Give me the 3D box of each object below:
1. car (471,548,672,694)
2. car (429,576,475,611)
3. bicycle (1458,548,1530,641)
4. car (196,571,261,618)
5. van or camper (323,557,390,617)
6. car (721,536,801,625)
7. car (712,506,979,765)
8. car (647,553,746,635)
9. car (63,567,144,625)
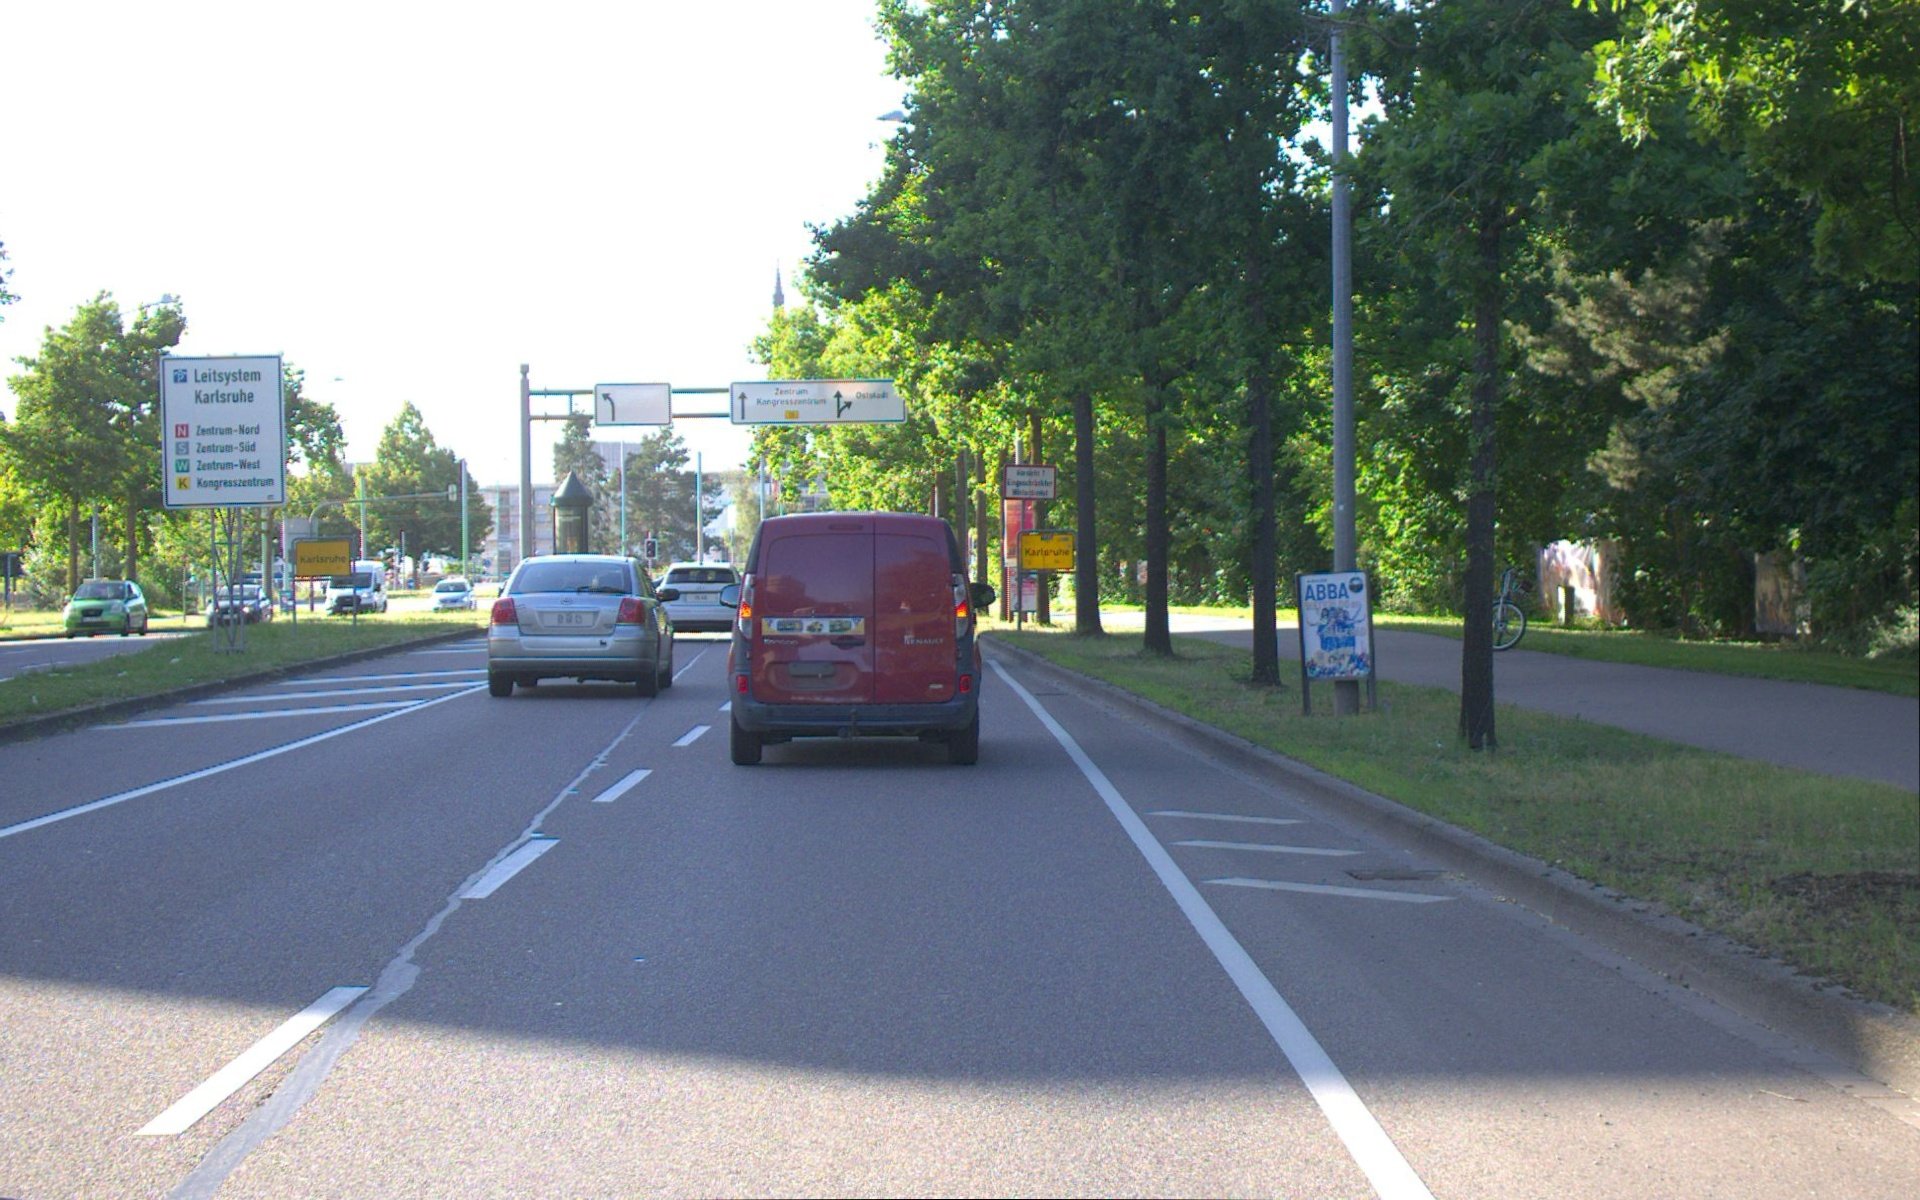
[{"bbox_3d":[-4.072,0.183,36.567,1.841,1.451,4.163,0,1,-2],"label":"car"},{"bbox_3d":[-22.197,-0.297,150.281,1.688,1.471,4.050,-1,1,-5],"label":"car"},{"bbox_3d":[6.655,-0.075,42.905,0.774,1.127,1.708,-1,1,5],"label":"bicycle"},{"bbox_3d":[-24.358,-0.199,114.548,1.550,1.503,4.027,-1,1,-4],"label":"car"},{"bbox_3d":[-25.097,-0.576,143.107,1.993,2.360,5.994,-2,1,-3],"label":"van or camper"},{"bbox_3d":[-4.298,-0.434,74.515,1.661,1.850,3.559,-1,1,-3],"label":"car"},{"bbox_3d":[-0.886,0.216,25.431,1.806,1.753,4.006,0,1,-3],"label":"car"},{"bbox_3d":[-4.712,-0.128,61.824,1.661,1.393,3.559,-1,1,-3],"label":"car"},{"bbox_3d":[-22.331,-0.118,89.719,1.445,1.431,3.460,-1,1,-4],"label":"car"}]
